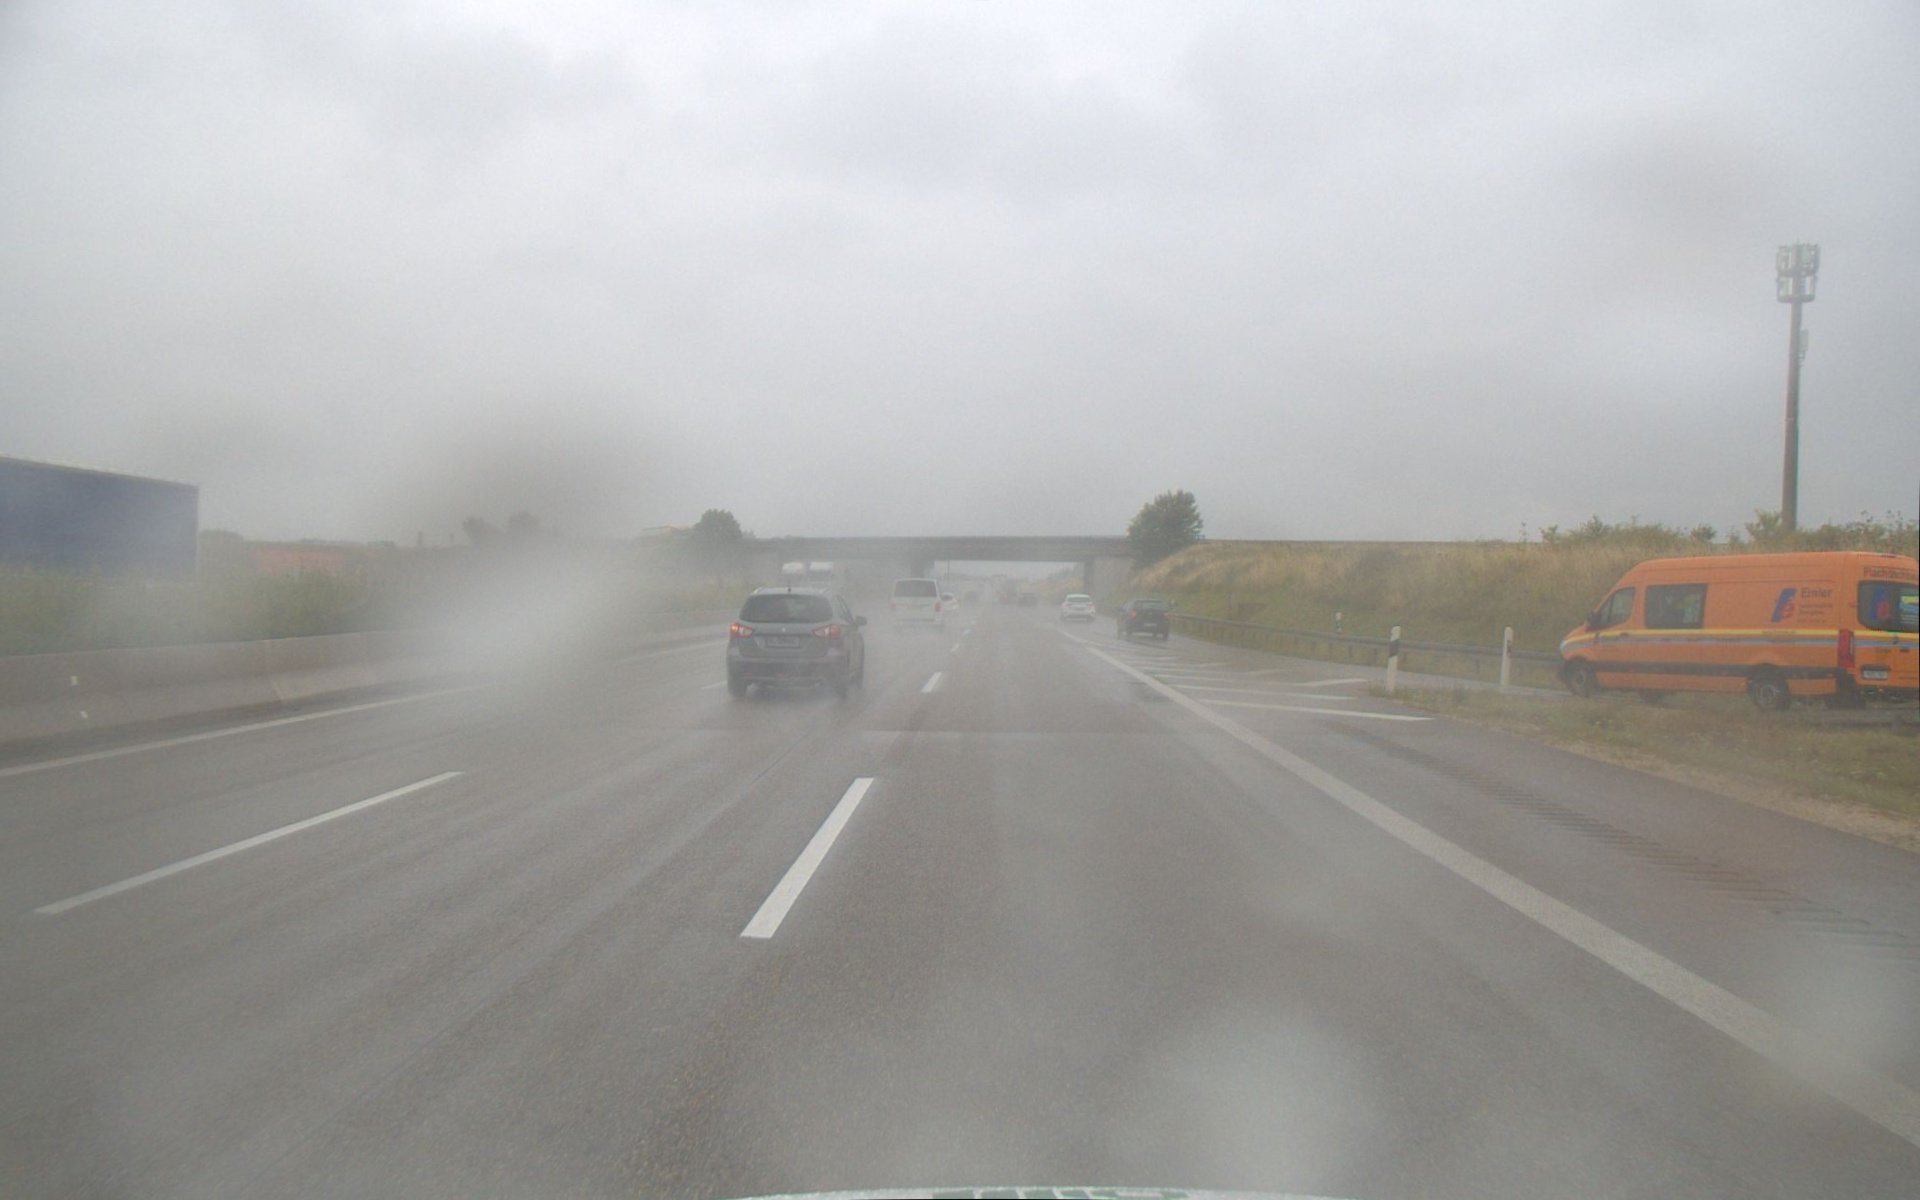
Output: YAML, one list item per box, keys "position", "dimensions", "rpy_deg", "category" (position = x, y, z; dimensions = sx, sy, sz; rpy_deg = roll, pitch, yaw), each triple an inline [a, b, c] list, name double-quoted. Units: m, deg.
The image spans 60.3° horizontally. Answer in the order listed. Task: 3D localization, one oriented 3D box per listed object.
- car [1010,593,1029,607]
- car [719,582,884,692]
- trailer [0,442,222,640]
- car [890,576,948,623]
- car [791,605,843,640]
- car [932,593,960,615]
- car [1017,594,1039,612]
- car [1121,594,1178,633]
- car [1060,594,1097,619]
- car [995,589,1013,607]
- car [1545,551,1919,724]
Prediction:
- position: [6.423, -0.055, 178.915]
  dimensions: [1.952, 1.489, 4.000]
  rpy_deg: [0, 0, 1]
  category: "car"
- position: [-2.348, 0.514, 25.673]
  dimensions: [1.807, 1.539, 4.759]
  rpy_deg: [0, 0, 4]
  category: "car"
- position: [-20.522, -1.195, 36.168]
  dimensions: [2.385, 4.008, 13.495]
  rpy_deg: [0, 0, 2]
  category: "trailer"
- position: [-1.420, -0.016, 59.171]
  dimensions: [1.858, 1.613, 4.001]
  rpy_deg: [1, 0, 1]
  category: "car"
- position: [-5.700, 0.884, 66.315]
  dimensions: [1.579, 1.378, 4.001]
  rpy_deg: [1, 0, 2]
  category: "car"
- position: [-0.761, 0.222, 94.101]
  dimensions: [1.437, 1.229, 2.992]
  rpy_deg: [1, 0, 2]
  category: "car"
- position: [6.122, 0.245, 148.929]
  dimensions: [1.764, 1.534, 3.999]
  rpy_deg: [0, 0, -1]
  category: "car"
- position: [7.297, 0.485, 63.955]
  dimensions: [1.697, 1.446, 3.657]
  rpy_deg: [0, 0, -2]
  category: "car"
- position: [6.471, 0.352, 90.971]
  dimensions: [1.952, 1.288, 4.001]
  rpy_deg: [1, 0, 3]
  category: "car"
- position: [5.423, -0.216, 204.143]
  dimensions: [1.953, 2.138, 3.999]
  rpy_deg: [0, 0, -2]
  category: "car"
- position: [13.516, 0.548, 28.997]
  dimensions: [2.033, 2.661, 6.839]
  rpy_deg: [2, 0, -23]
  category: "car"
